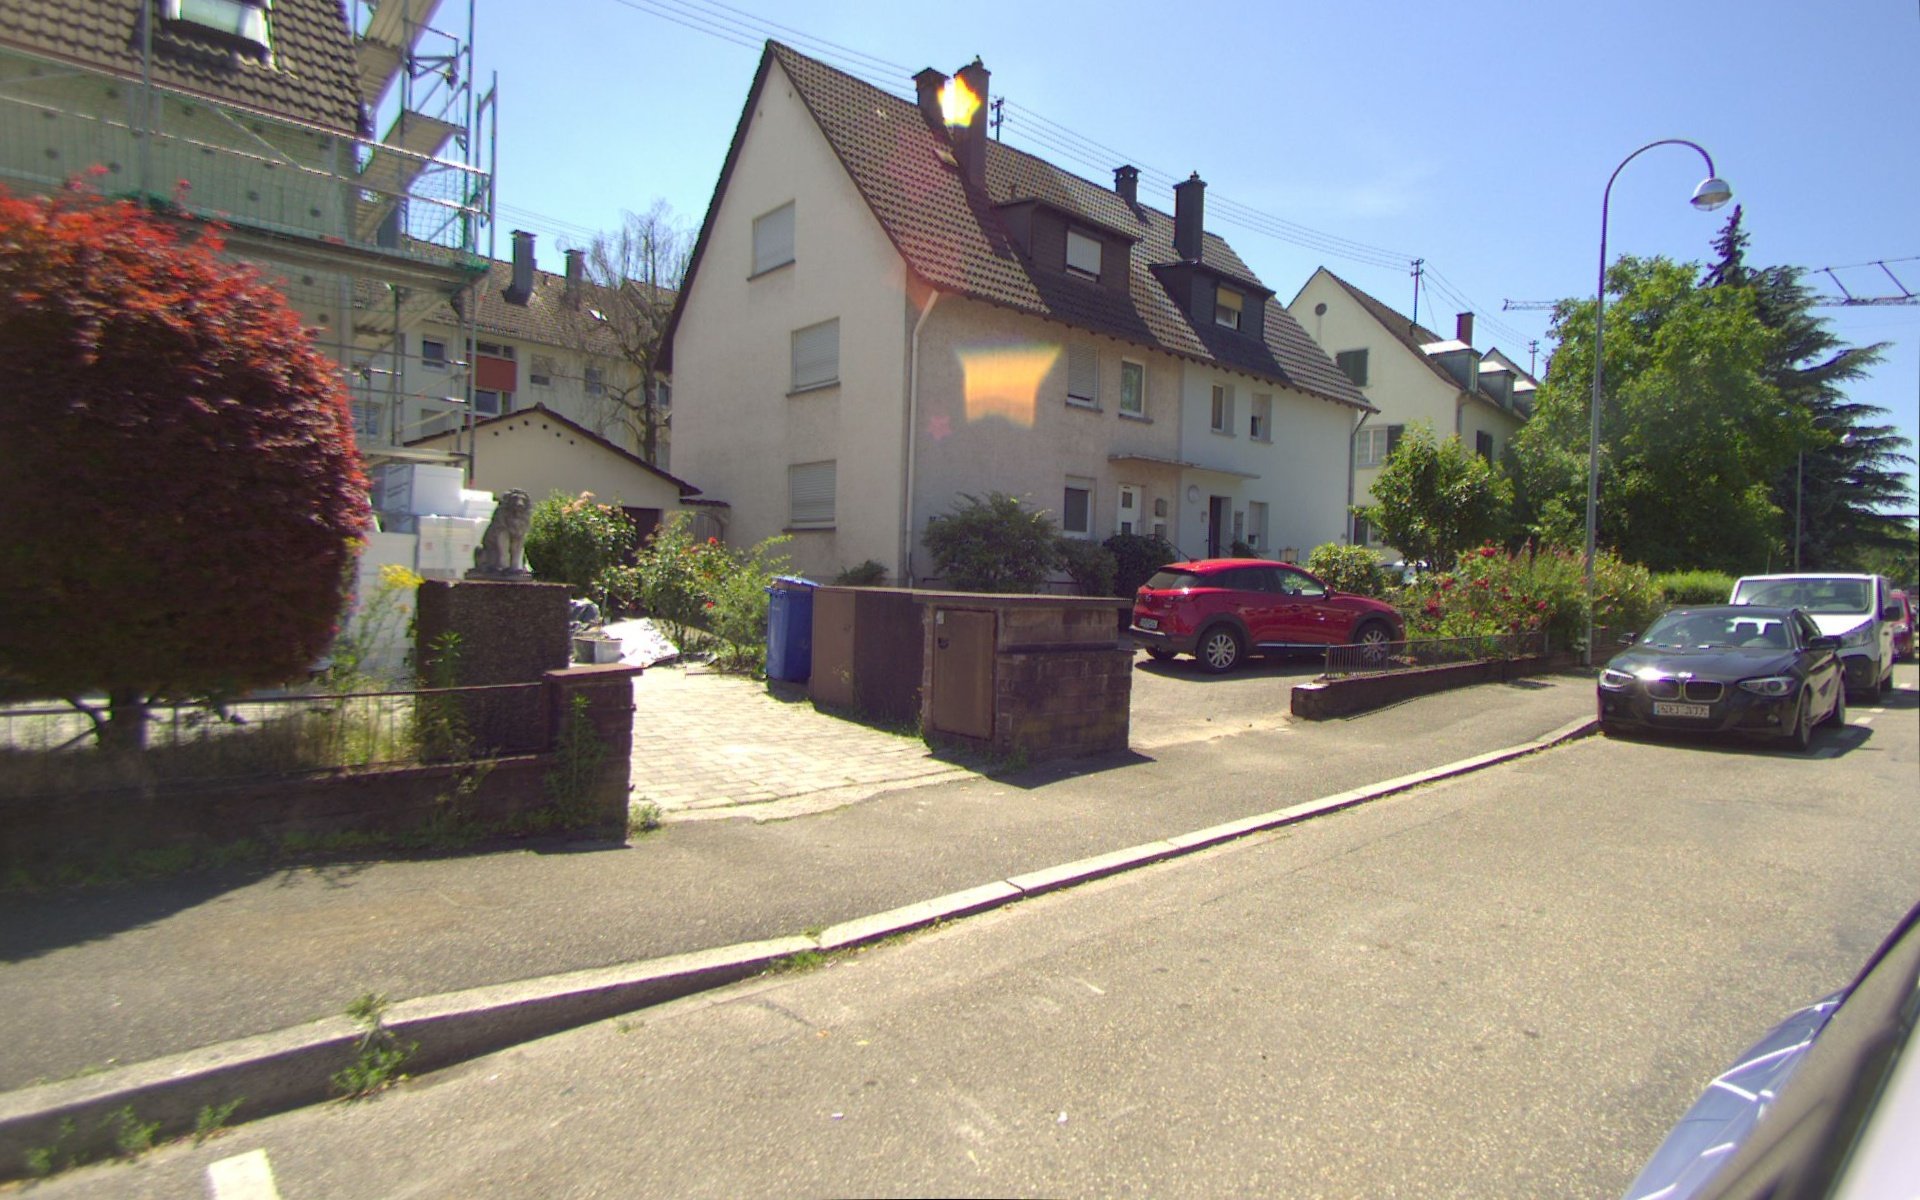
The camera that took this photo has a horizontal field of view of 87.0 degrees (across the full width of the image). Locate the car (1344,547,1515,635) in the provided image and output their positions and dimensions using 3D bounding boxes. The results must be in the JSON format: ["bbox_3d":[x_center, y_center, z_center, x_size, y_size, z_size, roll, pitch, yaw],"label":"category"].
[{"bbox_3d":[11.345,-0.198,24.358,4.316,1.879,1.751,2,3,-36],"label":"car"}]

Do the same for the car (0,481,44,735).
[{"bbox_3d":[-7.686,-0.030,5.536,3.932,1.529,1.797,1,3,-43],"label":"car"}]

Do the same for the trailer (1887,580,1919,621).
[{"bbox_3d":[50.744,-0.007,54.140,1.679,2.093,3.652,-1,1,42],"label":"trailer"}]

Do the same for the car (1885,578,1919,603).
[{"bbox_3d":[100.834,-1.015,108.073,1.985,2.564,5.825,1,1,32],"label":"car"}]

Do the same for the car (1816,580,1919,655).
[{"bbox_3d":[23.225,0.389,25.697,1.903,1.750,4.320,-1,0,45],"label":"car"}]

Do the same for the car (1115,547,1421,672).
[{"bbox_3d":[4.469,0.055,14.809,3.966,1.552,1.750,-2,5,-17],"label":"car"}]

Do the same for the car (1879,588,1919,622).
[{"bbox_3d":[46.742,0.246,50.147,1.770,1.653,4.534,-1,0,42],"label":"car"}]

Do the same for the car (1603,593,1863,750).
[{"bbox_3d":[8.649,0.644,11.199,3.932,1.415,1.658,0,1,-43],"label":"car"}]

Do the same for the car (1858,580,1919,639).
[{"bbox_3d":[30.592,0.272,33.010,1.746,1.805,4.470,-1,0,44],"label":"car"}]

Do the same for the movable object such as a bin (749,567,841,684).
[{"bbox_3d":[-1.894,0.269,11.565,0.734,1.233,0.761,0,5,-36],"label":"movable object such as a bin"}]

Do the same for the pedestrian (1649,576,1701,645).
[{"bbox_3d":[16.537,0.235,23.414,0.696,1.535,0.789,0,3,-44],"label":"pedestrian"}]

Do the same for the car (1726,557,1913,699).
[{"bbox_3d":[13.876,0.367,16.235,4.641,1.949,1.904,0,1,-45],"label":"car"}]
